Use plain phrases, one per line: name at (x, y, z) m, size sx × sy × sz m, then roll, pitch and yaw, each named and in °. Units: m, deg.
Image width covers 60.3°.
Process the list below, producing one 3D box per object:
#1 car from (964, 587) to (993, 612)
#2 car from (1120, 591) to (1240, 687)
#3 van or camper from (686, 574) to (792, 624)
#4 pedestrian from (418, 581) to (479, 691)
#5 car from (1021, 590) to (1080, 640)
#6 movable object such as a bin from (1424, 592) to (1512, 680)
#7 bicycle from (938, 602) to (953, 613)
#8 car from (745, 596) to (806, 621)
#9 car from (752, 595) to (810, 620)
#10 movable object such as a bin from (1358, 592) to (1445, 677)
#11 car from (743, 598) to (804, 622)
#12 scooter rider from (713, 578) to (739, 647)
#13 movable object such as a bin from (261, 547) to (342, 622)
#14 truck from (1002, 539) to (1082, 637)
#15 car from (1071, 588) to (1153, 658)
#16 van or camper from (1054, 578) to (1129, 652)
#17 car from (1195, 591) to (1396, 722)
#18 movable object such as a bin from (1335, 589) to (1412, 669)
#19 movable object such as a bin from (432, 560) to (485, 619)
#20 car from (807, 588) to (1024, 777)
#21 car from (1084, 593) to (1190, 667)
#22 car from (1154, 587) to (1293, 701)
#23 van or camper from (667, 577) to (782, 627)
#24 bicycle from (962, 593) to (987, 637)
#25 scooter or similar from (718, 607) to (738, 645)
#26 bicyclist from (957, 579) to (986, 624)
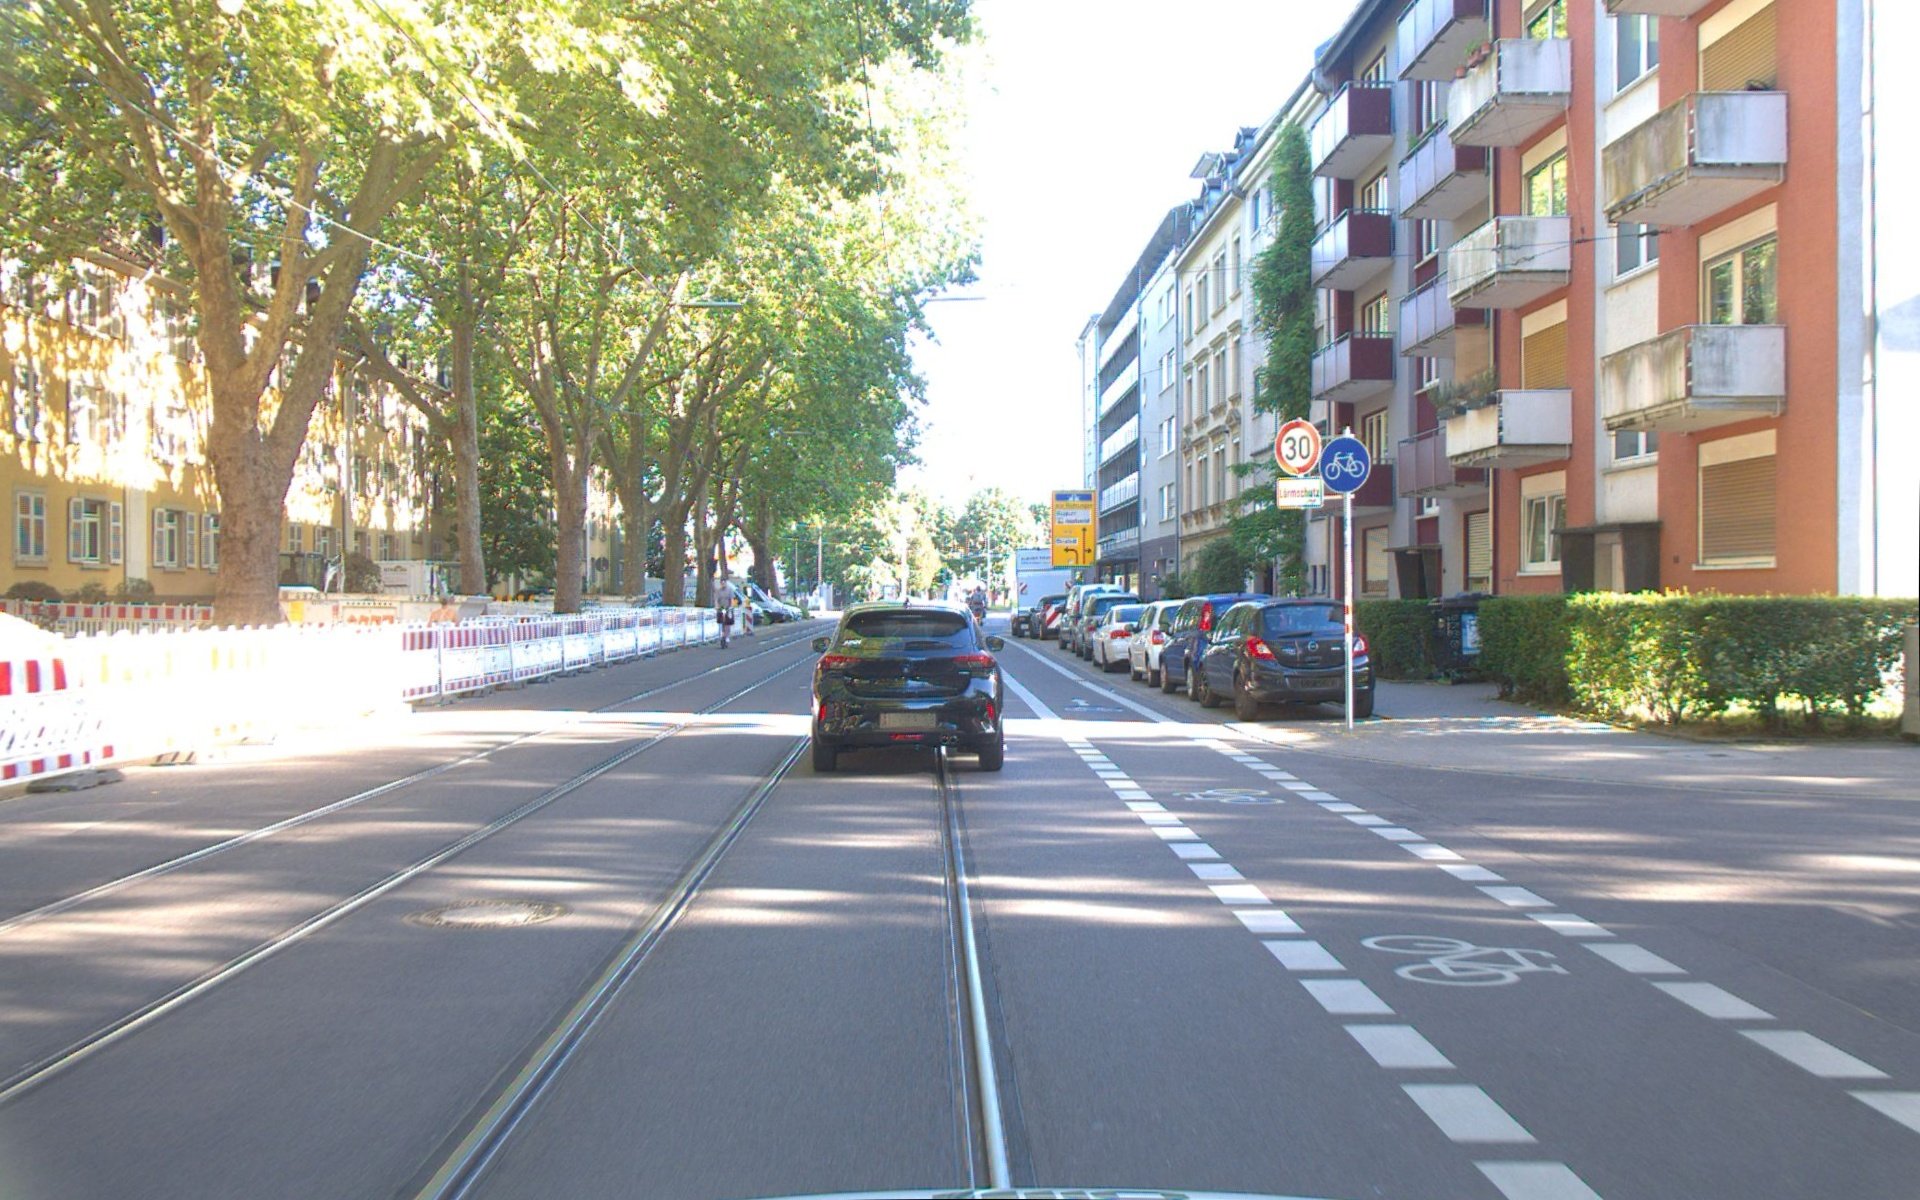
car at (1.383, -0.063, 123.788) m, size 1.953 × 1.725 × 4.738 m, roll -2°, pitch 0°, yaw -2°
car at (3.905, 0.665, 29.831) m, size 1.559 × 1.553 × 3.834 m, roll -2°, pitch 0°, yaw -1°
van or camper at (-12.372, -0.049, 92.943) m, size 5.607 × 2.690 × 2.269 m, roll 1°, pitch 0°, yaw -1°
pedestrian at (-8.101, 0.562, 26.212) m, size 0.702 × 1.698 × 0.778 m, roll 1°, pitch 0°, yaw -1°
car at (3.084, 0.503, 56.833) m, size 1.695 × 1.584 × 4.151 m, roll -3°, pitch 0°, yaw -1°
movable object such as a bin at (7.980, 0.563, 26.007) m, size 1.129 × 1.350 × 0.775 m, roll 1°, pitch 0°, yaw -1°
bicycle at (-1.359, 0.683, 153.320) m, size 0.771 × 1.009 × 2.245 m, roll 1°, pitch 0°, yaw 15°
car at (-12.883, 0.579, 115.681) m, size 4.086 × 1.700 × 1.963 m, roll 0°, pitch 0°, yaw -5°
car at (-12.908, 0.528, 119.269) m, size 4.086 × 1.700 × 1.963 m, roll 0°, pitch 0°, yaw -5°
movable object such as a bin at (7.266, 0.556, 27.298) m, size 0.947 × 1.350 × 1.721 m, roll 1°, pitch 0°, yaw -1°
car at (-12.709, 0.663, 112.732) m, size 3.905 × 1.541 × 1.649 m, roll 1°, pitch 0°, yaw 0°
scooter rider at (-6.845, 0.361, 48.412) m, size 0.636 × 1.991 × 0.624 m, roll 1°, pitch -1°, yaw -1°
movable object such as a bin at (-17.168, -0.400, 43.214) m, size 1.306 × 1.901 × 2.007 m, roll 1°, pitch 0°, yaw -1°
truck at (3.039, -0.438, 62.979) m, size 2.487 × 3.396 × 7.193 m, roll -3°, pitch 0°, yaw -1°
car at (3.688, 0.519, 40.658) m, size 1.626 × 1.608 × 3.588 m, roll -1°, pitch 0°, yaw -1°
van or camper at (3.586, 0.381, 45.634) m, size 1.635 × 1.915 × 4.210 m, roll -1°, pitch 0°, yaw -1°
car at (4.257, 0.655, 21.561) m, size 1.698 × 1.487 × 3.915 m, roll -2°, pitch 0°, yaw -2°
movable object such as a bin at (7.253, 0.493, 29.107) m, size 0.905 × 1.350 × 1.681 m, roll 1°, pitch 0°, yaw -1°
movable object such as a bin at (-14.622, -0.287, 48.287) m, size 1.075 × 1.674 × 1.559 m, roll 1°, pitch 0°, yaw -1°
car at (-0.415, 0.659, 15.402) m, size 1.745 × 1.522 × 3.999 m, roll 1°, pitch 0°, yaw -2°
car at (3.777, 0.594, 35.912) m, size 1.626 × 1.424 × 4.738 m, roll -2°, pitch 0°, yaw -2°
car at (4.020, 0.639, 25.729) m, size 1.495 × 1.618 × 3.751 m, roll 1°, pitch 0°, yaw -1°
van or camper at (-11.858, 0.115, 83.661) m, size 5.387 × 2.421 × 2.270 m, roll 1°, pitch 0°, yaw 2°
bicycle at (0.518, 0.531, 61.524) m, size 0.897 × 1.588 × 3.405 m, roll 1°, pitch 0°, yaw 0°
scooter or similar at (-6.780, 0.754, 48.438) m, size 0.399 × 1.102 × 1.338 m, roll 1°, pitch 0°, yaw -1°
bicyclist at (0.435, 0.050, 61.571) m, size 1.067 × 1.676 × 1.400 m, roll 1°, pitch 0°, yaw 0°
